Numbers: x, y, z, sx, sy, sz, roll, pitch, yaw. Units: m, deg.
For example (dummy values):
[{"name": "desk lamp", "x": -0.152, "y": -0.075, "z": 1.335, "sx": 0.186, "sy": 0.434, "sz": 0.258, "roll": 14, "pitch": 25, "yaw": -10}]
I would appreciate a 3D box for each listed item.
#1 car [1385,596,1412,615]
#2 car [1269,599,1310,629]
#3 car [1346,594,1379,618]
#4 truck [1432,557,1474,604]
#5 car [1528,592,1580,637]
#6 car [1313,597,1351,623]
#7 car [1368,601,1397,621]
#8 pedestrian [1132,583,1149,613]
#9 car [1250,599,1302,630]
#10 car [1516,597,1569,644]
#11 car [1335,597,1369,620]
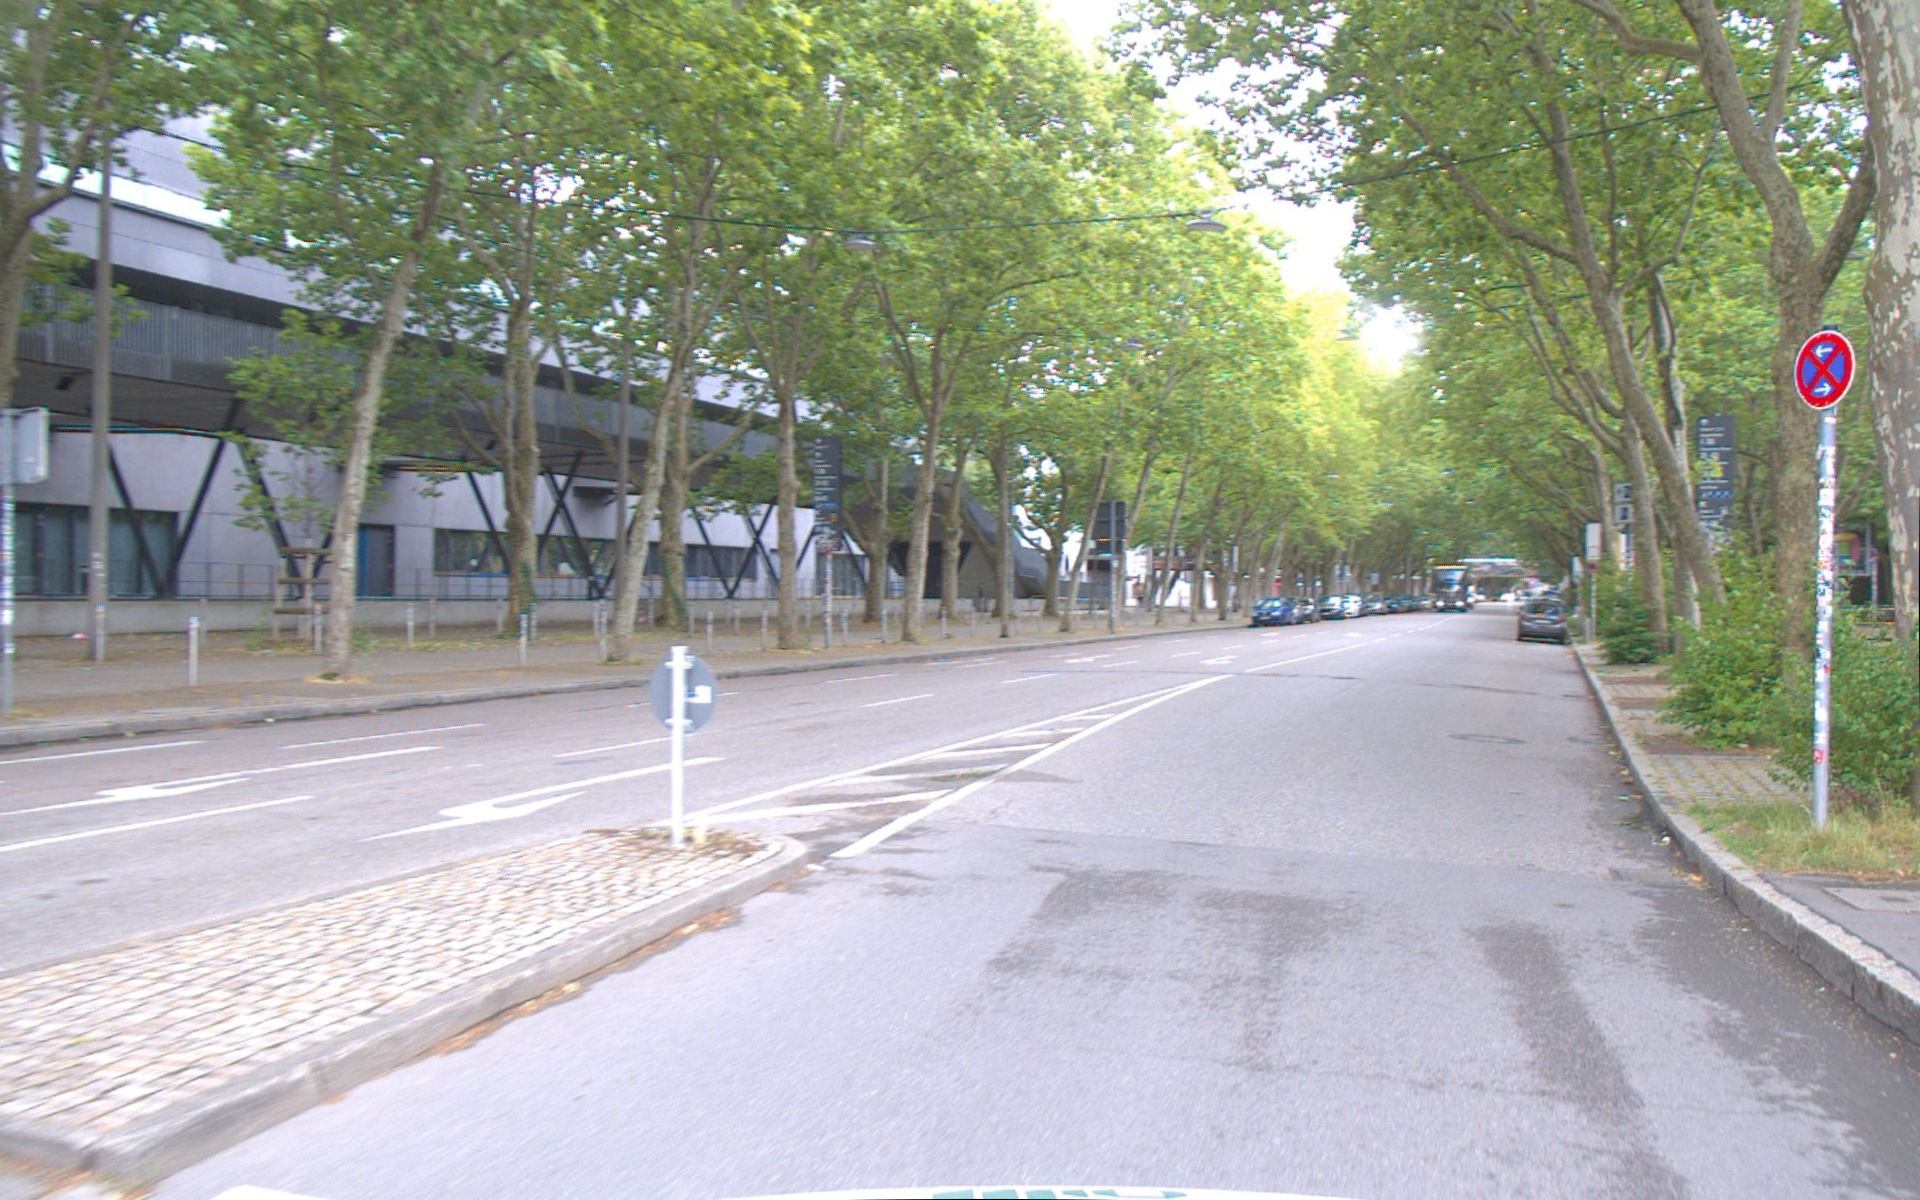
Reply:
[{"name": "car", "x": 36.390, "y": 0.488, "z": 137.179, "sx": 1.855, "sy": 1.463, "sz": 4.001, "roll": -1, "pitch": -2, "yaw": 18}, {"name": "car", "x": 17.315, "y": 0.745, "z": 86.784, "sx": 1.728, "sy": 1.443, "sz": 3.763, "roll": -2, "pitch": -2, "yaw": 17}, {"name": "car", "x": 27.378, "y": 0.426, "z": 112.313, "sx": 1.855, "sy": 1.463, "sz": 4.001, "roll": -1, "pitch": -2, "yaw": 18}, {"name": "truck", "x": 43.018, "y": -1.645, "z": 144.189, "sx": 2.587, "sy": 3.970, "sz": 9.539, "roll": -1, "pitch": -1, "yaw": 22}, {"name": "car", "x": 23.556, "y": 0.559, "z": 65.700, "sx": 1.683, "sy": 1.594, "sz": 4.096, "roll": 4, "pitch": 1, "yaw": 18}, {"name": "car", "x": 22.575, "y": 0.641, "z": 100.304, "sx": 1.729, "sy": 1.443, "sz": 3.762, "roll": -2, "pitch": -2, "yaw": 19}, {"name": "car", "x": 32.165, "y": 0.861, "z": 125.838, "sx": 1.855, "sy": 1.463, "sz": 4.001, "roll": -1, "pitch": -2, "yaw": 18}, {"name": "pedestrian", "x": 11.059, "y": -0.117, "z": 101.270, "sx": 0.757, "sy": 1.867, "sz": 0.875, "roll": 1, "pitch": 0, "yaw": -14}, {"name": "car", "x": 15.713, "y": 0.740, "z": 82.069, "sx": 1.661, "sy": 1.443, "sz": 3.759, "roll": -3, "pitch": -2, "yaw": 24}, {"name": "car", "x": 21.422, "y": 0.726, "z": 60.795, "sx": 1.664, "sy": 1.545, "sz": 4.455, "roll": 4, "pitch": 2, "yaw": 20}, {"name": "car", "x": 25.370, "y": 0.580, "z": 106.961, "sx": 1.696, "sy": 1.355, "sz": 4.001, "roll": -1, "pitch": -2, "yaw": 19}]
